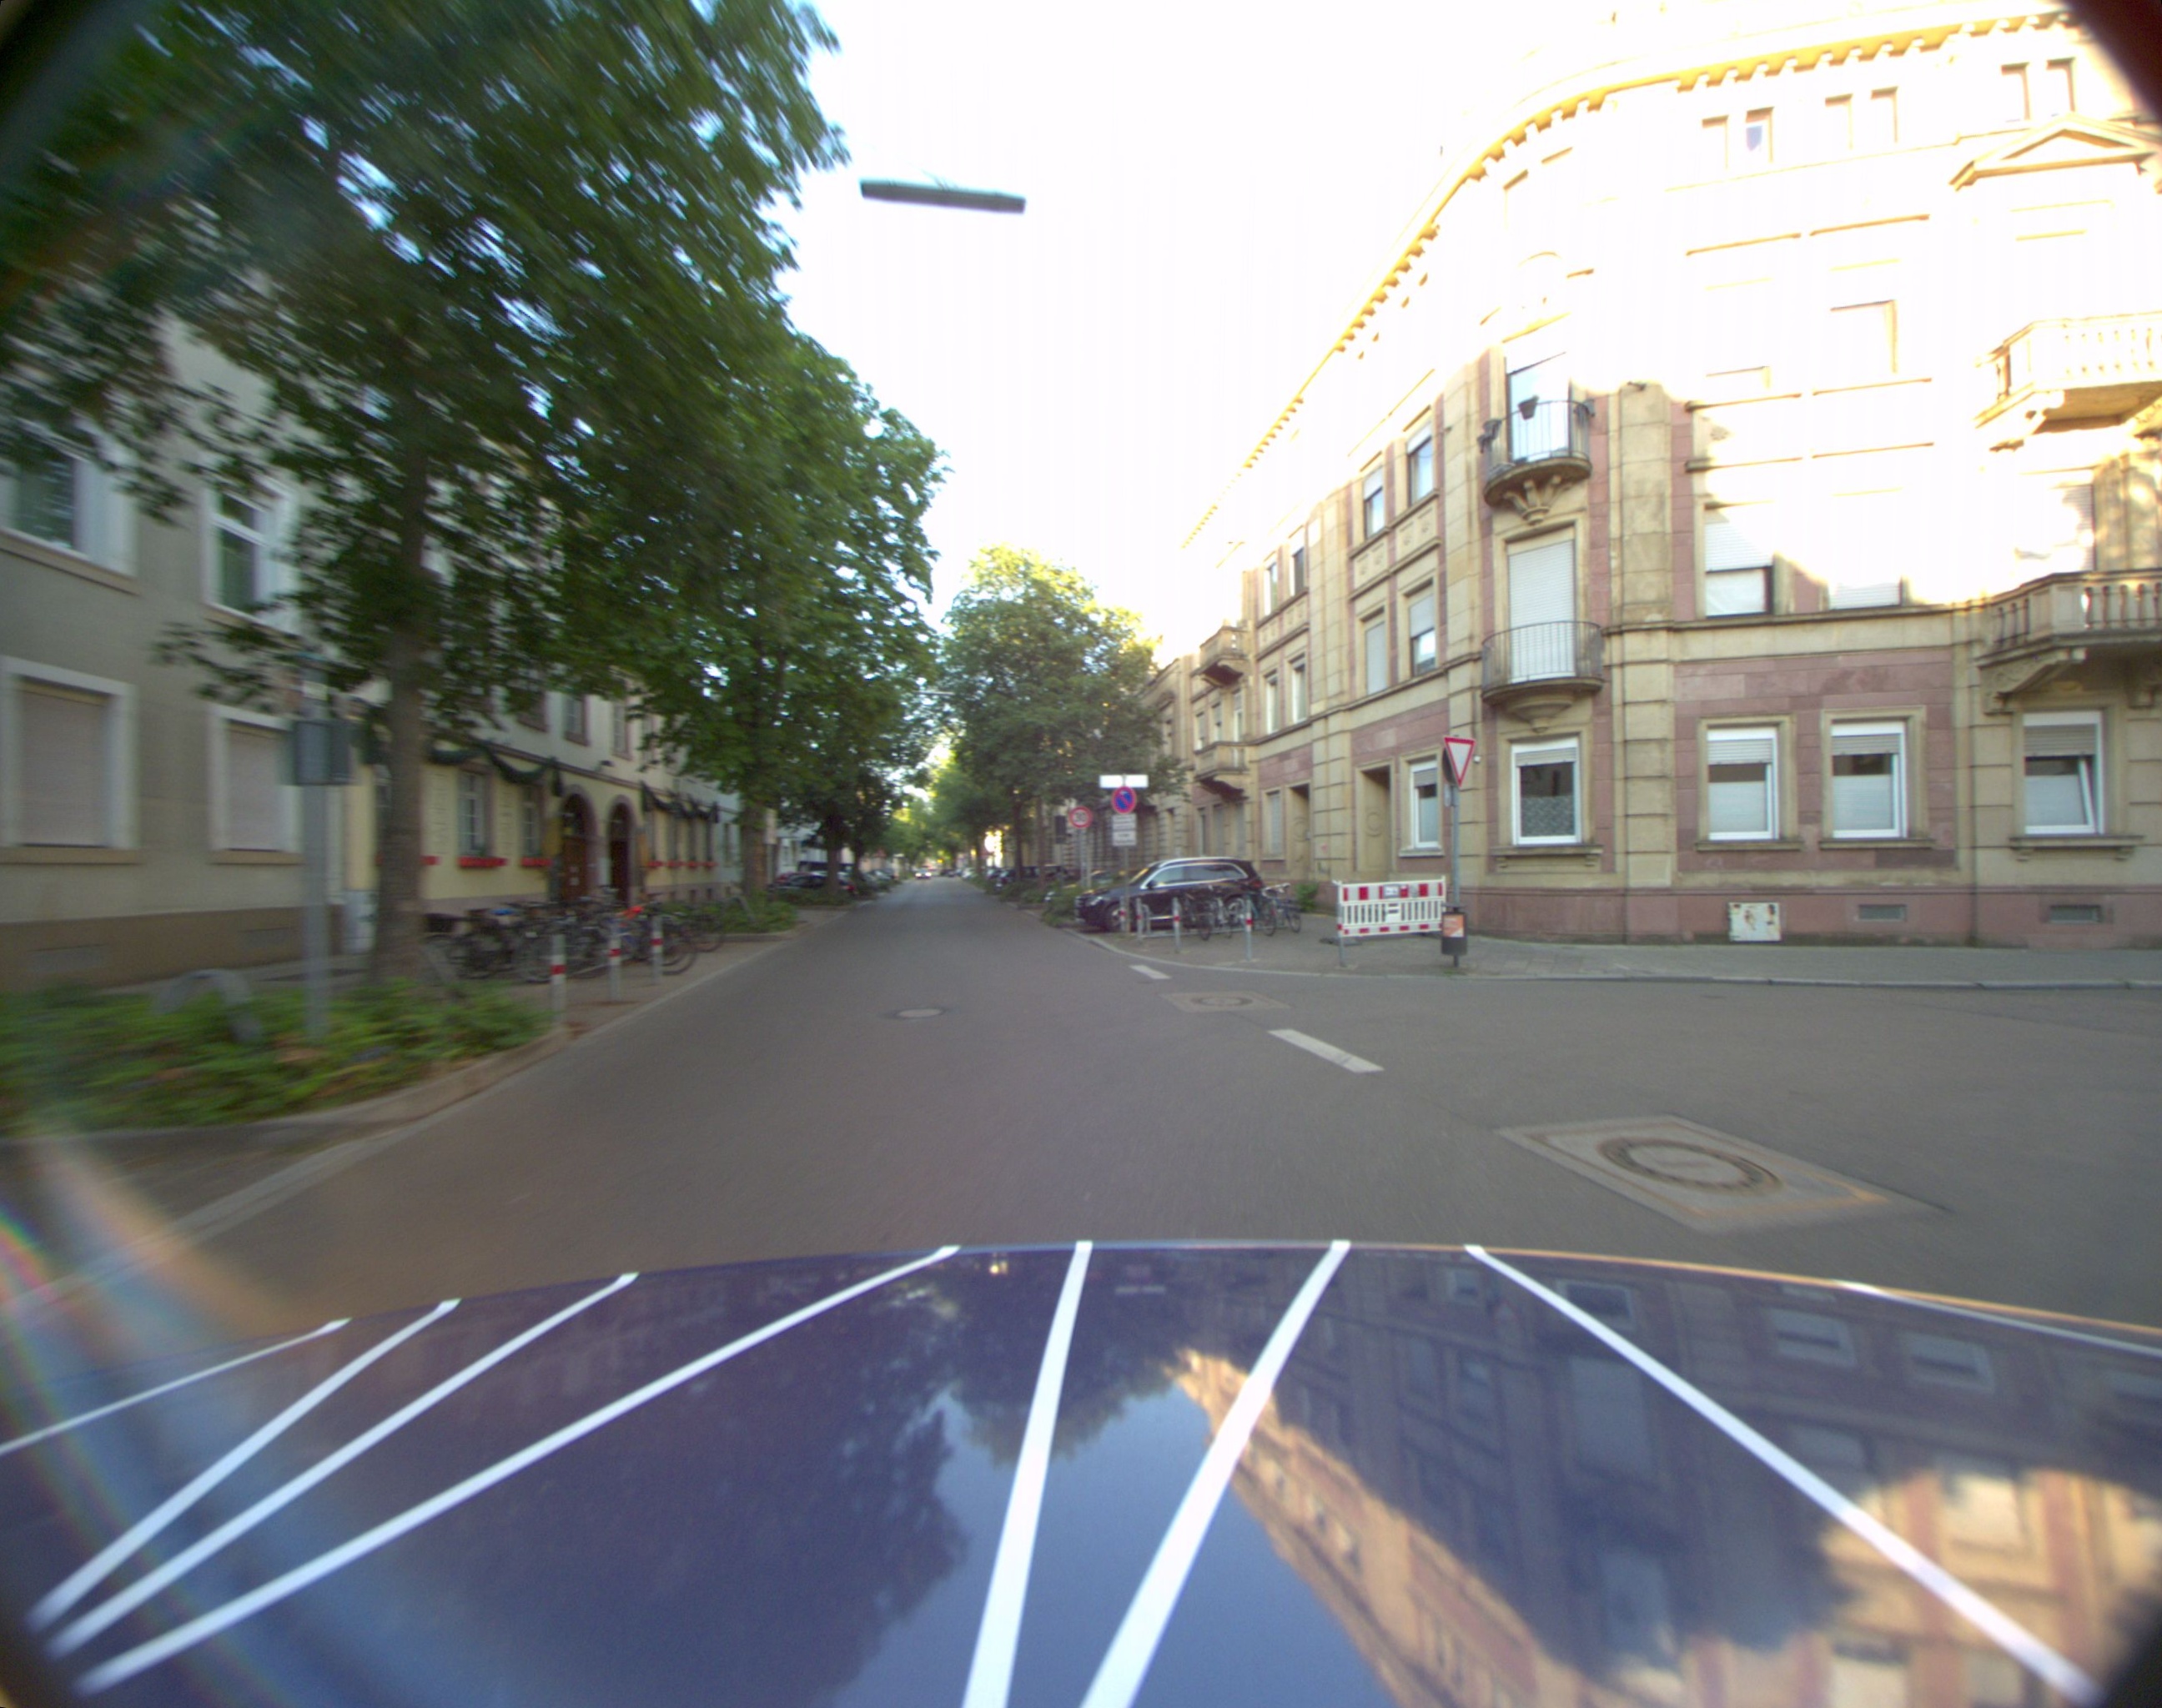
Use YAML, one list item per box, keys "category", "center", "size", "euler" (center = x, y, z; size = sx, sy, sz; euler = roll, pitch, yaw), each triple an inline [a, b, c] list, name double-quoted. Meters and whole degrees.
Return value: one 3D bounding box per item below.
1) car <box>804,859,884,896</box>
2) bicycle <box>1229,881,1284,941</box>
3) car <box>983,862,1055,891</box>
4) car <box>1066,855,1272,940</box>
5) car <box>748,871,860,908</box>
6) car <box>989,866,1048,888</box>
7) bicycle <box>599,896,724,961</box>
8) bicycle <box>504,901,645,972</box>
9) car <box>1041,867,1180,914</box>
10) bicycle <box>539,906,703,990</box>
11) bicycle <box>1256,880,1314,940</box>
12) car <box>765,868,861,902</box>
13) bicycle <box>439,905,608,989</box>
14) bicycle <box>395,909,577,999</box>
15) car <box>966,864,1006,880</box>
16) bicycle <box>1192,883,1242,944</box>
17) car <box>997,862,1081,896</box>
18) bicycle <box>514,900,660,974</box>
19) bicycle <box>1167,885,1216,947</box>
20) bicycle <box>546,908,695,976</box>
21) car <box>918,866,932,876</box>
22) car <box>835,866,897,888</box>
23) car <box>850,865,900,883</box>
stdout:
- category: "car"
  center: [-14.460, 1.416, 46.516]
  size: [4.446, 2.110, 1.775]
  euler: [-1, 0, -10]
- category: "bicycle"
  center: [3.569, 1.136, 15.616]
  size: [0.364, 1.083, 1.868]
  euler: [-2, 1, -10]
- category: "car"
  center: [-3.968, 1.432, 48.683]
  size: [4.446, 1.728, 1.775]
  euler: [-1, 0, -10]
- category: "car"
  center: [2.062, 0.984, 18.369]
  size: [4.592, 1.728, 1.775]
  euler: [-2, 1, -10]
- category: "car"
  center: [-12.362, 1.574, 34.111]
  size: [4.446, 1.496, 1.775]
  euler: [-1, -1, -10]
- category: "car"
  center: [-4.505, 1.595, 54.369]
  size: [4.034, 1.474, 1.775]
  euler: [-1, -1, -10]
- category: "bicycle"
  center: [-8.023, 1.413, 14.597]
  size: [2.043, 1.139, 0.421]
  euler: [-1, 0, -12]
- category: "bicycle"
  center: [-8.870, 1.427, 13.357]
  size: [2.043, 1.139, 0.421]
  euler: [-1, 0, -12]
- category: "car"
  center: [0.955, 1.207, 25.933]
  size: [4.446, 1.478, 1.775]
  euler: [-1, -1, -10]
- category: "bicycle"
  center: [-6.812, 1.382, 11.318]
  size: [2.042, 1.139, 0.446]
  euler: [-1, 0, -10]
- category: "bicycle"
  center: [4.194, 1.129, 15.740]
  size: [0.364, 1.083, 1.868]
  euler: [-2, 1, -10]
- category: "car"
  center: [-13.834, 1.593, 39.461]
  size: [4.446, 1.603, 1.775]
  euler: [-1, 0, -10]
- category: "bicycle"
  center: [-8.353, 1.379, 11.449]
  size: [2.043, 1.139, 0.421]
  euler: [-1, 0, -12]
- category: "bicycle"
  center: [-8.274, 1.374, 10.620]
  size: [2.042, 1.139, 0.446]
  euler: [-1, 0, -7]
- category: "car"
  center: [-10.836, 2.032, 86.449]
  size: [4.446, 1.638, 1.775]
  euler: [-1, 0, -10]
- category: "bicycle"
  center: [2.777, 1.189, 15.709]
  size: [0.364, 1.083, 1.868]
  euler: [-2, 1, -10]
- category: "car"
  center: [-2.359, 1.368, 41.843]
  size: [4.446, 1.728, 1.775]
  euler: [-1, 0, -10]
- category: "bicycle"
  center: [-8.285, 1.382, 12.801]
  size: [2.043, 1.139, 0.421]
  euler: [-1, 0, -12]
- category: "bicycle"
  center: [2.209, 1.216, 15.391]
  size: [0.364, 1.083, 1.868]
  euler: [-2, 1, -10]
- category: "bicycle"
  center: [-7.483, 1.426, 12.410]
  size: [2.043, 0.998, 0.421]
  euler: [-1, 0, -12]
- category: "car"
  center: [-22.023, 2.335, 107.592]
  size: [1.828, 1.364, 3.996]
  euler: [-1, -1, -11]
- category: "car"
  center: [-16.713, 1.775, 59.148]
  size: [4.446, 1.603, 1.775]
  euler: [-1, 0, -10]
- category: "car"
  center: [-19.602, 1.874, 72.342]
  size: [4.446, 1.603, 1.775]
  euler: [-1, 0, -10]
